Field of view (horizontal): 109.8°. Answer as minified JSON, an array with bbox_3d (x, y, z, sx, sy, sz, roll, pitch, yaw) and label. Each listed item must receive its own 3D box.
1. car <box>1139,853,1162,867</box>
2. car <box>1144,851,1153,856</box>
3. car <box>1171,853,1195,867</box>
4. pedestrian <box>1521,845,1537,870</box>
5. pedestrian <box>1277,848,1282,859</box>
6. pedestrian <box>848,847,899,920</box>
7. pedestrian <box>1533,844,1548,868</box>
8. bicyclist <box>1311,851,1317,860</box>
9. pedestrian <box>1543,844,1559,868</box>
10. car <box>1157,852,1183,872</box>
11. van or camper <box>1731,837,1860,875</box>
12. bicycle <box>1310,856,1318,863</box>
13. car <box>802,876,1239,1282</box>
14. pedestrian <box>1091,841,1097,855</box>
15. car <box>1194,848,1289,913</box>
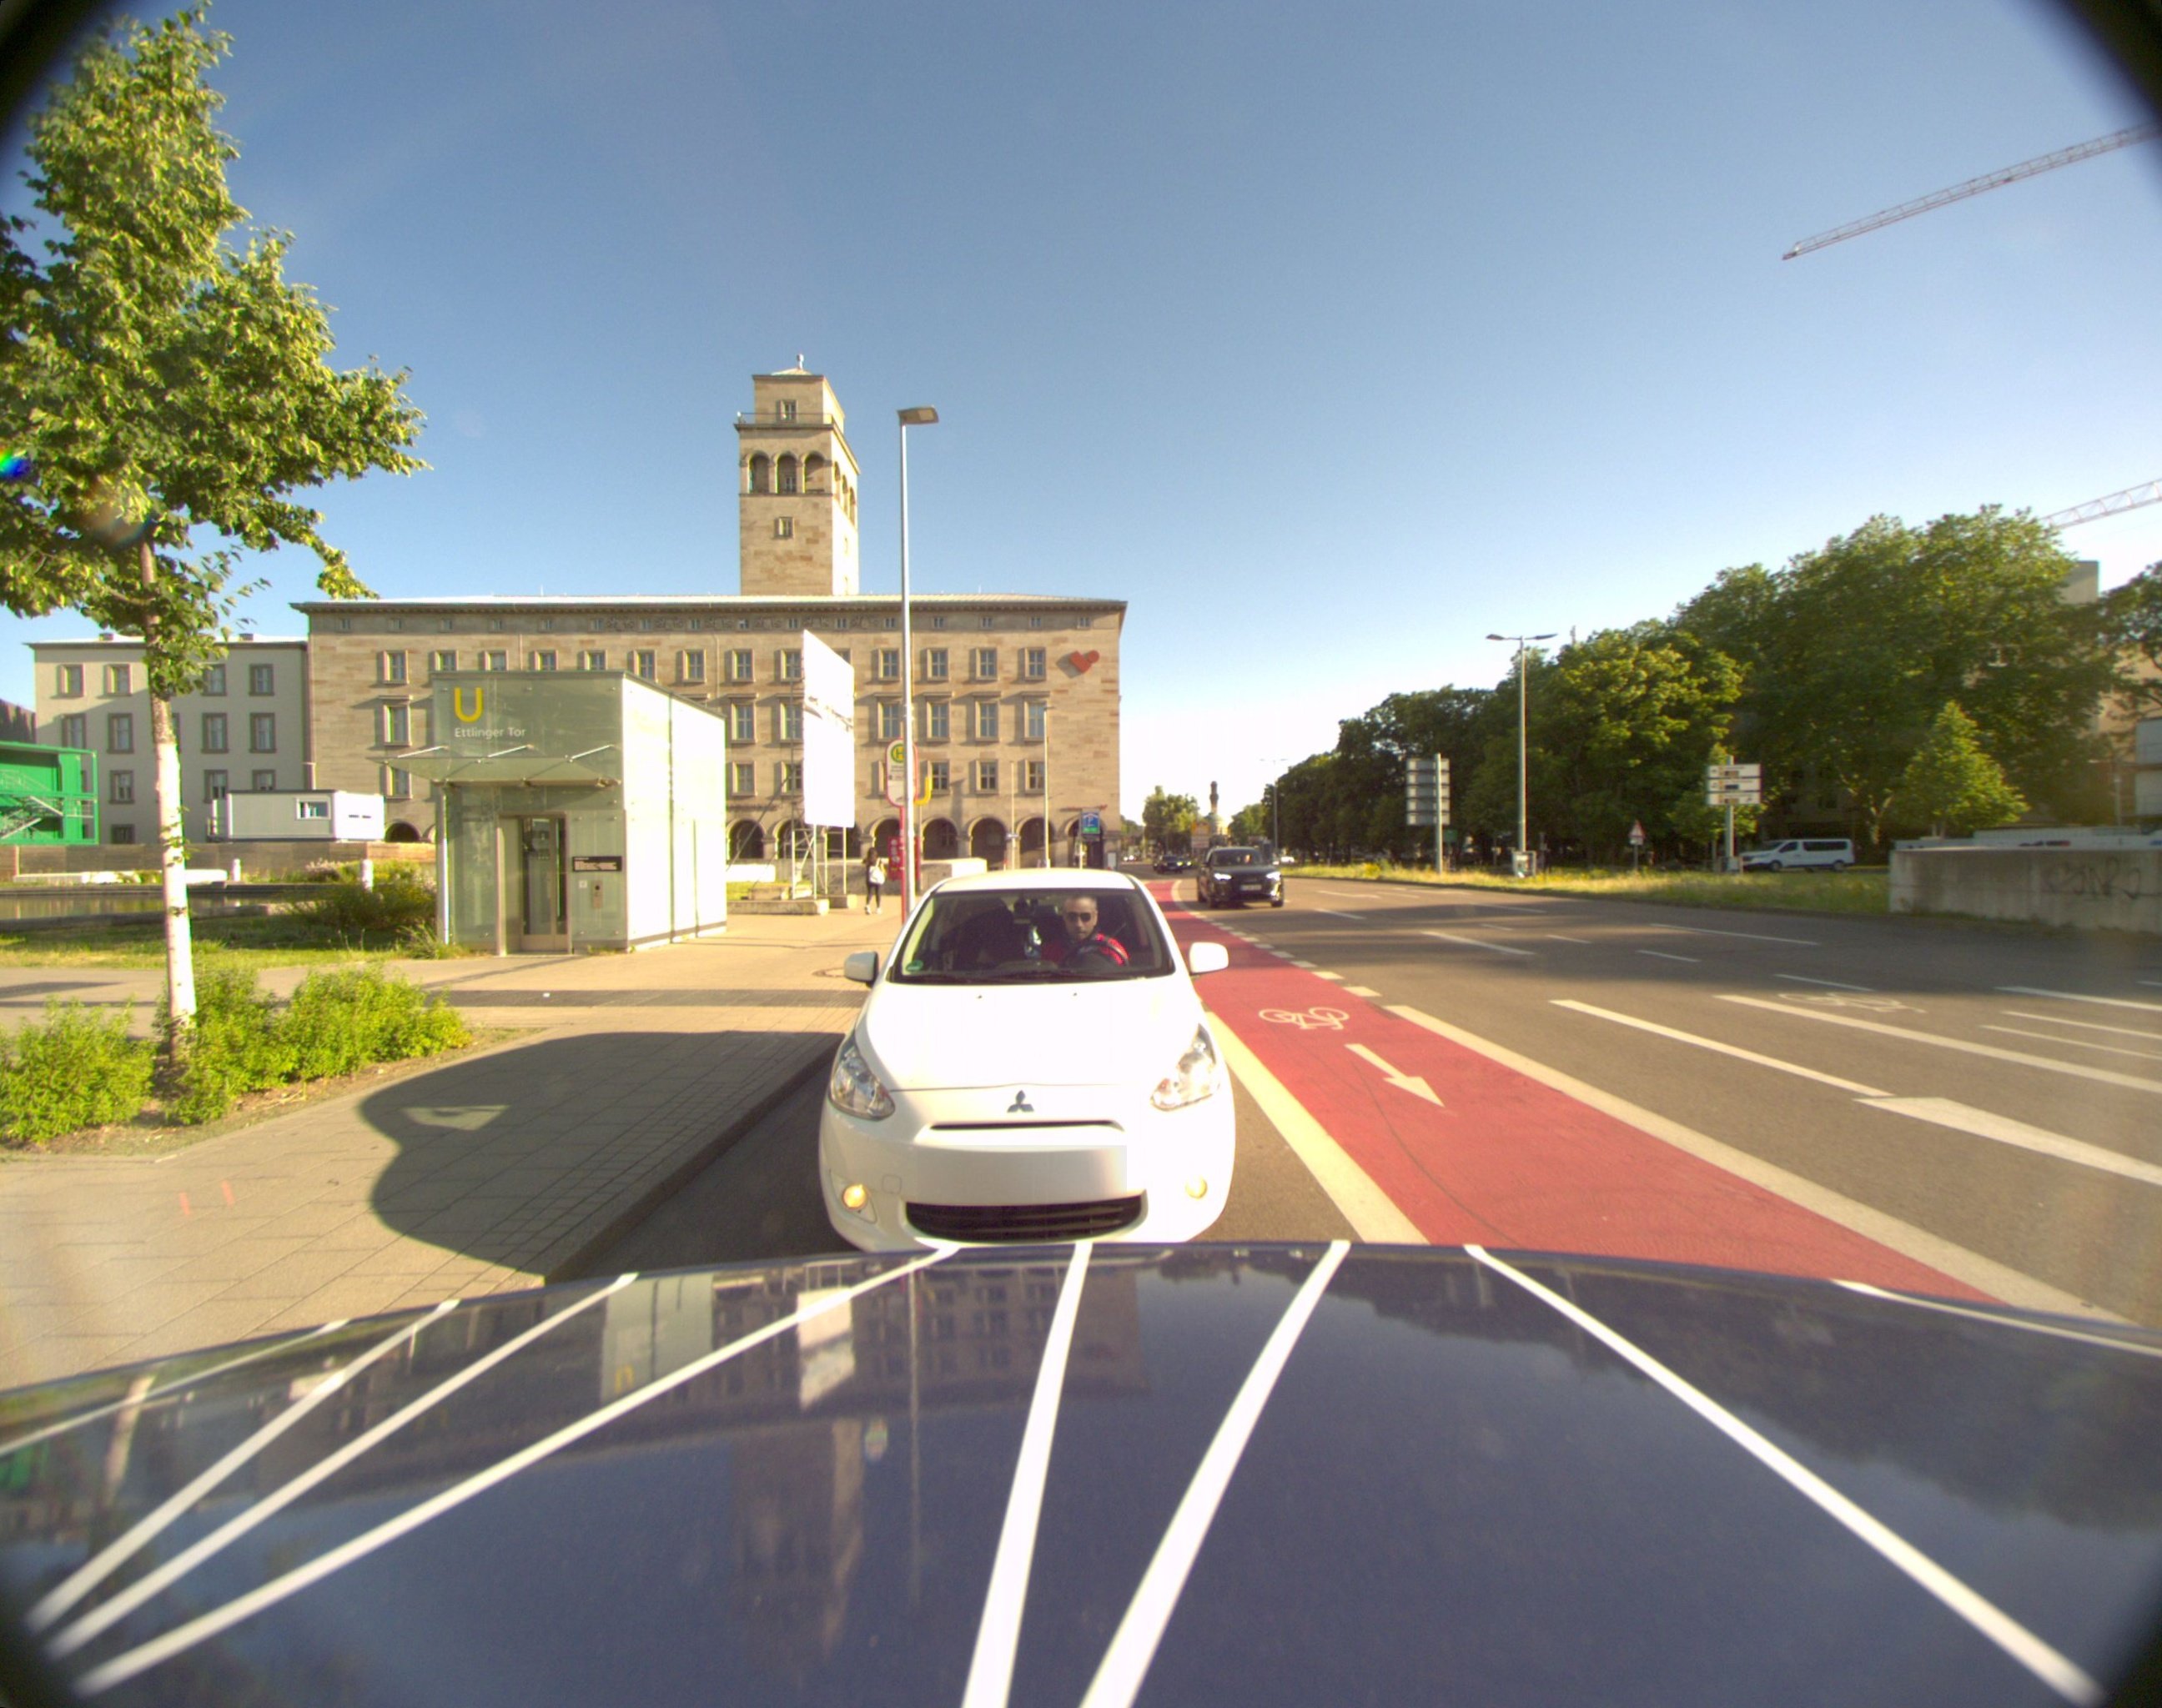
[{"bbox_3d":[7.508,0.599,82.297,1.998,1.398,4.488,-2,0,0],"label":"car"},{"bbox_3d":[17.988,-0.174,201.752,1.873,1.390,3.999,-1,0,-2],"label":"car"},{"bbox_3d":[11.085,0.666,83.089,1.998,1.398,4.488,-2,0,0],"label":"car"},{"bbox_3d":[32.012,0.241,54.253,0.707,1.715,0.762,-1,1,1],"label":"pedestrian"},{"bbox_3d":[32.278,-0.050,123.330,0.568,1.837,0.734,-1,1,-1],"label":"pedestrian"},{"bbox_3d":[-5.267,0.724,19.375,0.942,1.776,1.072,2,1,1],"label":"pedestrian"},{"bbox_3d":[32.929,0.162,54.473,0.665,1.715,0.762,-1,1,1],"label":"pedestrian"},{"bbox_3d":[31.598,0.188,103.139,0.610,1.274,0.715,-1,1,-1],"label":"bicyclist"},{"bbox_3d":[33.705,0.130,54.510,0.707,1.715,0.762,-1,1,0],"label":"pedestrian"},{"bbox_3d":[8.045,0.718,68.993,1.998,1.709,4.326,-1,0,2],"label":"car"},{"bbox_3d":[42.300,0.108,45.079,5.649,2.002,1.948,-2,1,2],"label":"van or camper"},{"bbox_3d":[31.603,0.741,103.149,0.610,0.838,1.745,-1,0,-1],"label":"bicycle"},{"bbox_3d":[-0.151,0.956,4.942,1.678,1.440,3.889,-2,0,3],"label":"car"},{"bbox_3d":[1.682,-0.787,100.343,0.704,1.843,0.828,-1,1,0],"label":"pedestrian"},{"bbox_3d":[4.419,0.665,21.569,1.937,1.634,4.617,-1,0,3],"label":"car"}]
